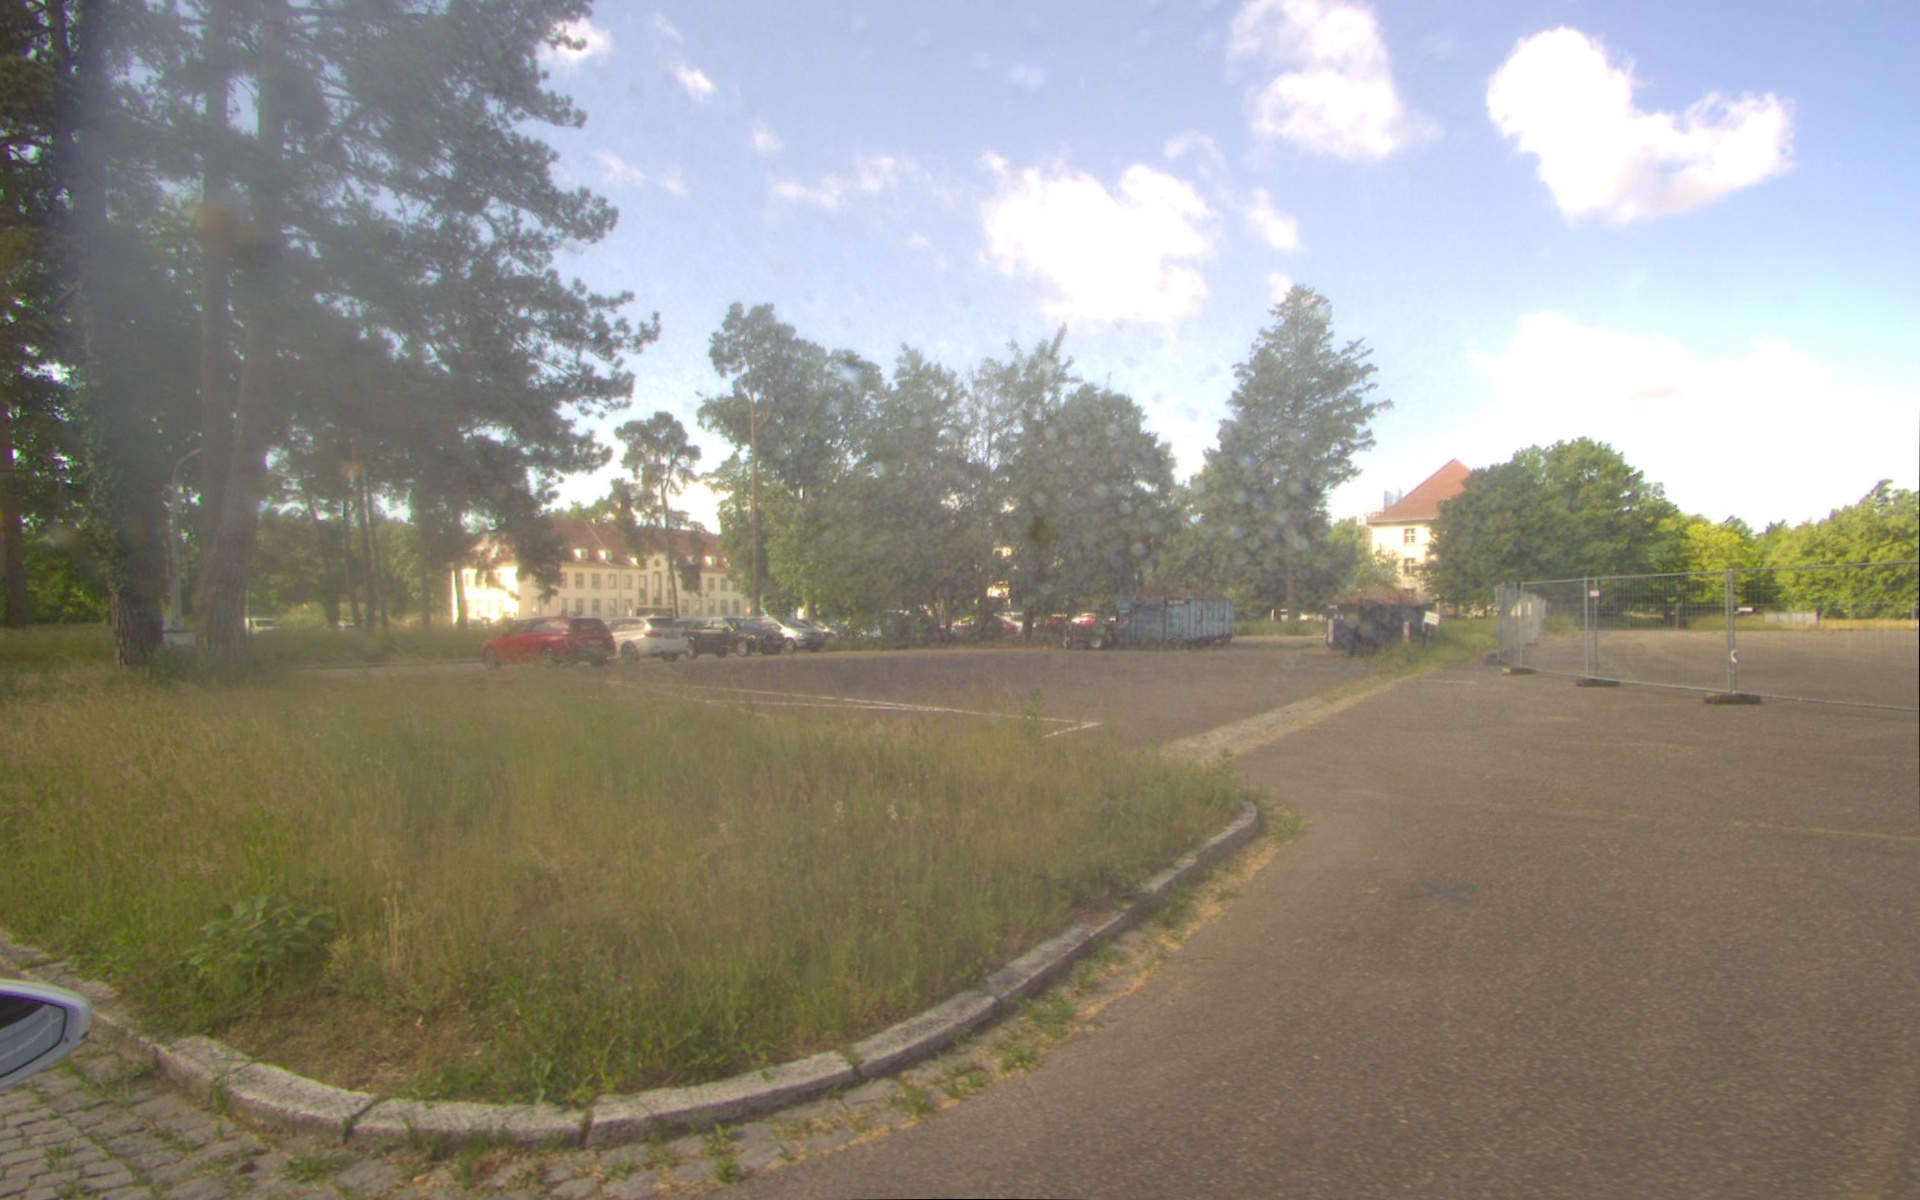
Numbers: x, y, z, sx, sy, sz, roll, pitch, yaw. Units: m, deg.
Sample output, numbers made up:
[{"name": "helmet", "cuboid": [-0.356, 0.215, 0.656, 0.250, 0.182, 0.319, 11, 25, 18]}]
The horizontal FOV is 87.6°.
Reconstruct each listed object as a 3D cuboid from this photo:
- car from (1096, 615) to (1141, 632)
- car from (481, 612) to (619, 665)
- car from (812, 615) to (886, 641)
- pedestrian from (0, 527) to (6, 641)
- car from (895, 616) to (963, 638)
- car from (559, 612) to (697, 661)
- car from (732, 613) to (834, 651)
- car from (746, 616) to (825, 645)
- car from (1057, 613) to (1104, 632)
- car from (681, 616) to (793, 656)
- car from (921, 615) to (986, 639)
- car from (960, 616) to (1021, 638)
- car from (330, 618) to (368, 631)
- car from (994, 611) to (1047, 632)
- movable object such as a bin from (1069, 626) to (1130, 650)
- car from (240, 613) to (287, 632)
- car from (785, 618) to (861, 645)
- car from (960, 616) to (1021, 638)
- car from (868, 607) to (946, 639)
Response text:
[{"name": "car", "cuboid": [14.423, 2.148, 91.366, 3.682, 1.568, 1.705, -1, -2, 33]}, {"name": "car", "cuboid": [-11.823, 1.120, 28.824, 4.071, 1.416, 1.653, -2, -2, 33]}, {"name": "car", "cuboid": [-6.574, 1.658, 59.060, 4.181, 1.487, 1.721, -1, -2, 33]}, {"name": "pedestrian", "cuboid": [-15.685, -0.255, 15.429, 1.154, 1.820, 1.057, -1, 1, -28]}, {"name": "car", "cuboid": [-2.038, 1.768, 65.550, 4.181, 1.443, 1.721, -1, -2, 33]}, {"name": "car", "cuboid": [-10.414, 1.152, 31.346, 4.180, 1.396, 1.776, -3, -2, 31]}, {"name": "car", "cuboid": [-6.816, 1.232, 38.471, 3.740, 1.390, 1.720, -1, -2, 34]}, {"name": "car", "cuboid": [-9.506, 1.660, 54.519, 4.181, 1.512, 1.721, -1, -2, 33]}, {"name": "car", "cuboid": [10.381, 1.974, 86.504, 3.682, 1.568, 1.705, -1, -2, 33]}, {"name": "car", "cuboid": [-8.006, 1.249, 35.875, 3.988, 1.332, 1.612, -1, 0, 33]}, {"name": "car", "cuboid": [-0.462, 1.835, 68.131, 4.181, 1.568, 1.721, -1, -2, 33]}, {"name": "car", "cuboid": [2.218, 2.013, 73.334, 4.181, 1.568, 1.721, -1, -2, 33]}, {"name": "car", "cuboid": [-54.923, 2.173, 90.004, 3.951, 1.101, 1.716, -1, -1, 39]}, {"name": "car", "cuboid": [4.605, 1.622, 76.259, 3.640, 1.568, 1.705, -1, -2, 33]}, {"name": "movable object such as a bin", "cuboid": [4.533, 1.218, 32.474, 1.696, 0.762, 1.143, -1, -1, 26]}, {"name": "car", "cuboid": [-58.344, 1.883, 83.853, 4.103, 1.603, 1.823, -1, 0, 33]}, {"name": "car", "cuboid": [-7.706, 1.758, 56.212, 4.181, 1.443, 1.721, -1, -2, 33]}, {"name": "car", "cuboid": [2.232, 2.012, 73.326, 4.181, 1.568, 1.721, -1, -2, 33]}, {"name": "car", "cuboid": [-3.385, 1.463, 63.247, 4.677, 1.972, 1.982, -1, -2, 33]}]
